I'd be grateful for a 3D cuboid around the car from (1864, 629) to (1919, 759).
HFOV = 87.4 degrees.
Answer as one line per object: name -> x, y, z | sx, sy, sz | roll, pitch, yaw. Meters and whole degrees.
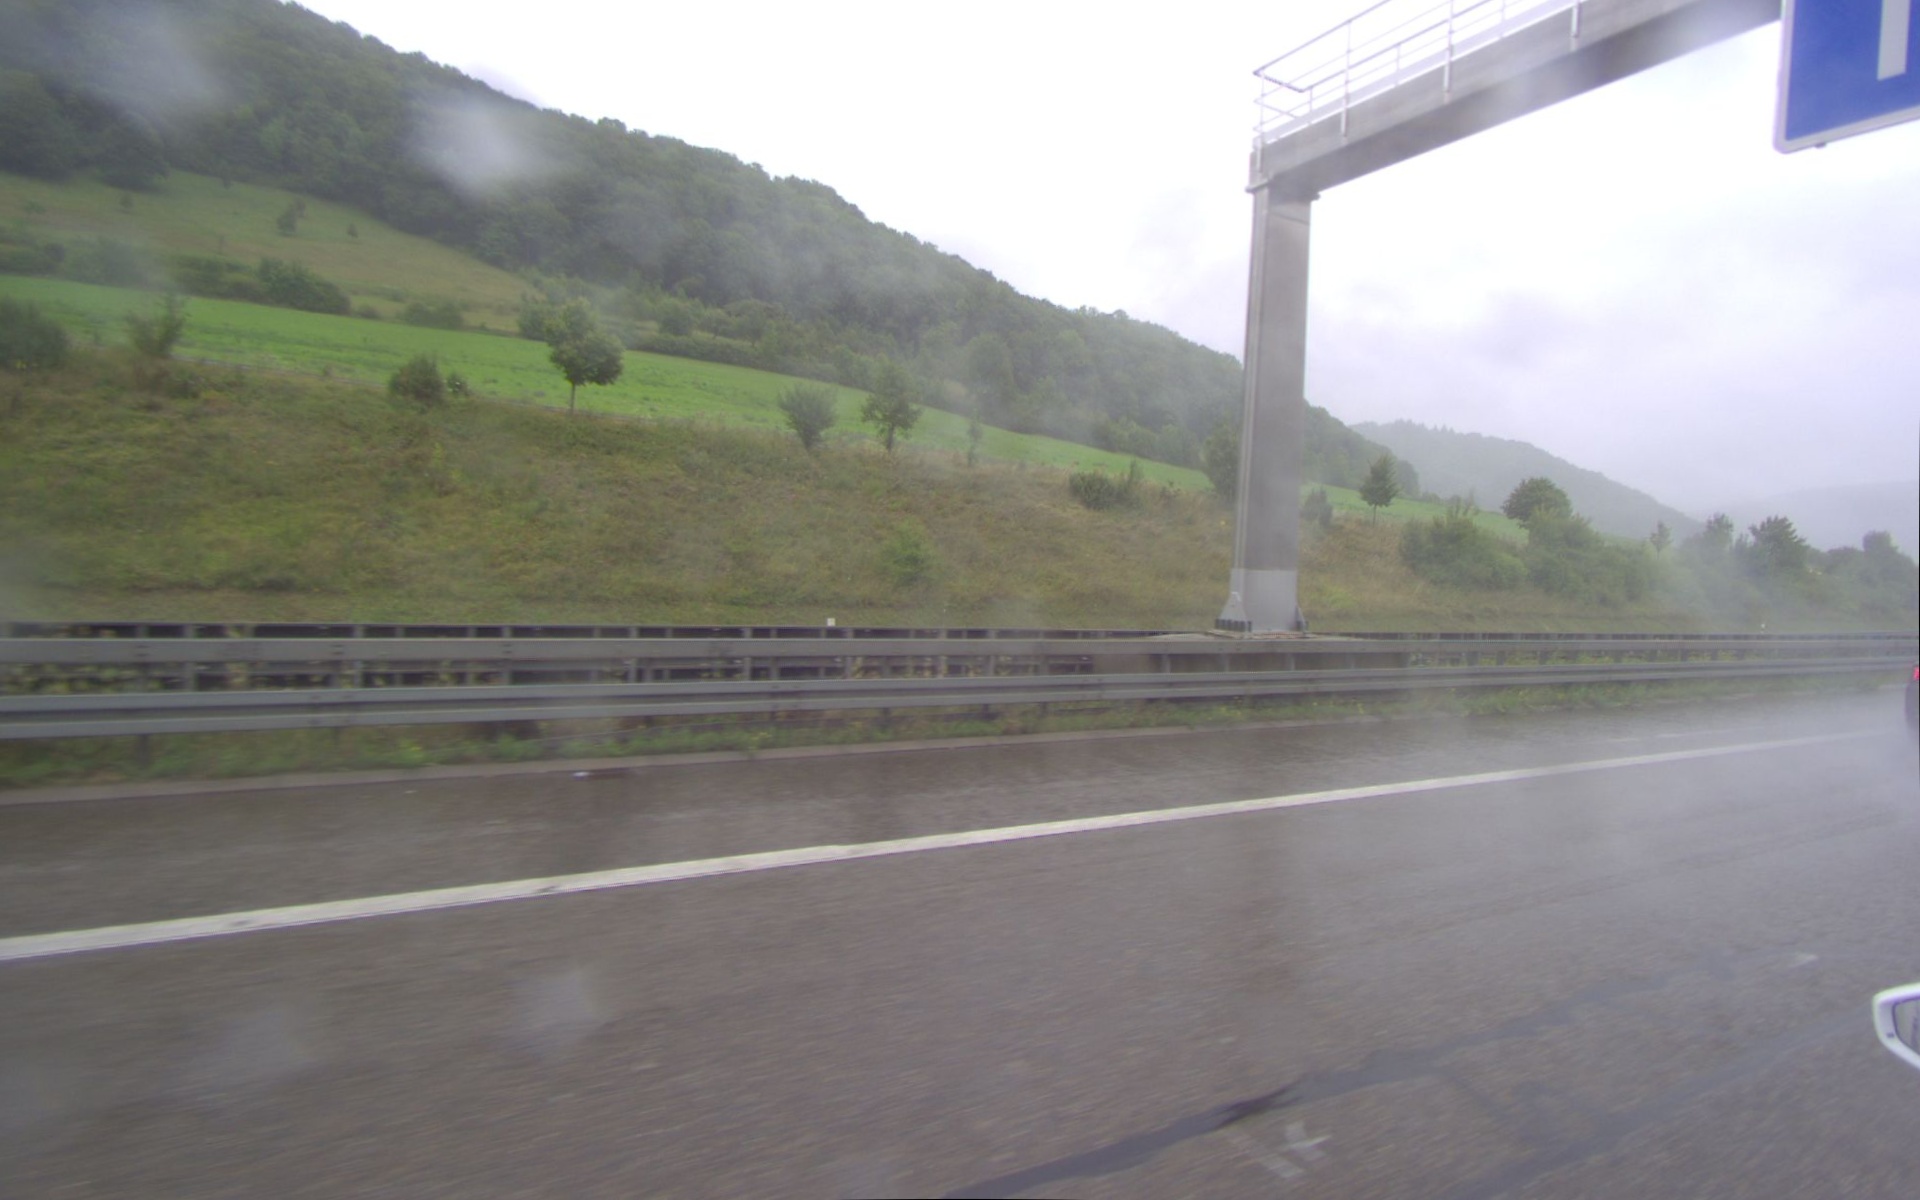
car -> 13.894, 1.223, 13.048 | 4.741, 1.536, 2.387 | 2, 1, -38
